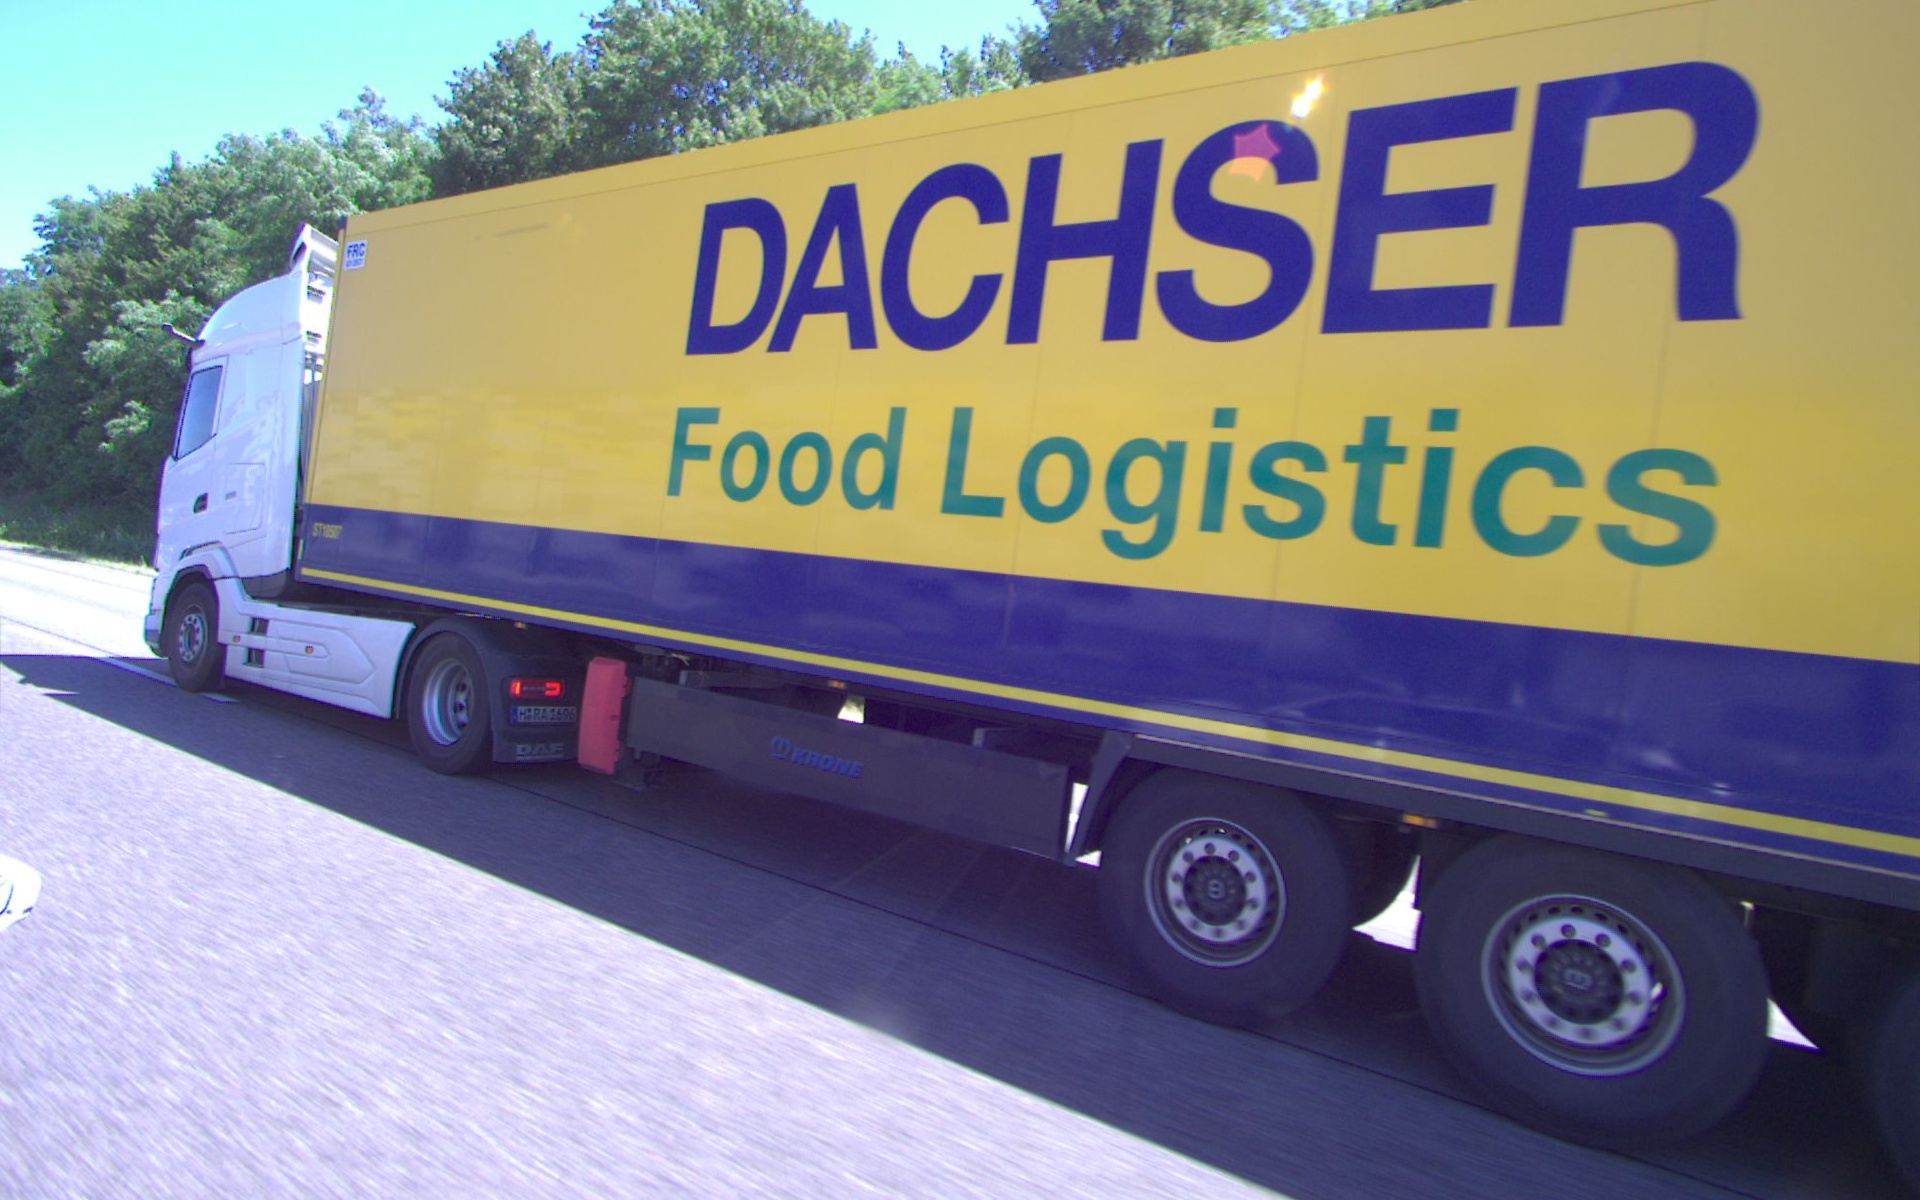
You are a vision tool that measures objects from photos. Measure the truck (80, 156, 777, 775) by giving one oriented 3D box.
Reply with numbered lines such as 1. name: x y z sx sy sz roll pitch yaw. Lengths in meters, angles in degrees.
1. truck: -5.072 -1.054 9.340 5.948 4.118 2.682 7 -1 32

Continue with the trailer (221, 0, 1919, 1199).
1. trailer: 0.662 -0.406 5.795 13.605 4.118 2.682 7 -1 32
